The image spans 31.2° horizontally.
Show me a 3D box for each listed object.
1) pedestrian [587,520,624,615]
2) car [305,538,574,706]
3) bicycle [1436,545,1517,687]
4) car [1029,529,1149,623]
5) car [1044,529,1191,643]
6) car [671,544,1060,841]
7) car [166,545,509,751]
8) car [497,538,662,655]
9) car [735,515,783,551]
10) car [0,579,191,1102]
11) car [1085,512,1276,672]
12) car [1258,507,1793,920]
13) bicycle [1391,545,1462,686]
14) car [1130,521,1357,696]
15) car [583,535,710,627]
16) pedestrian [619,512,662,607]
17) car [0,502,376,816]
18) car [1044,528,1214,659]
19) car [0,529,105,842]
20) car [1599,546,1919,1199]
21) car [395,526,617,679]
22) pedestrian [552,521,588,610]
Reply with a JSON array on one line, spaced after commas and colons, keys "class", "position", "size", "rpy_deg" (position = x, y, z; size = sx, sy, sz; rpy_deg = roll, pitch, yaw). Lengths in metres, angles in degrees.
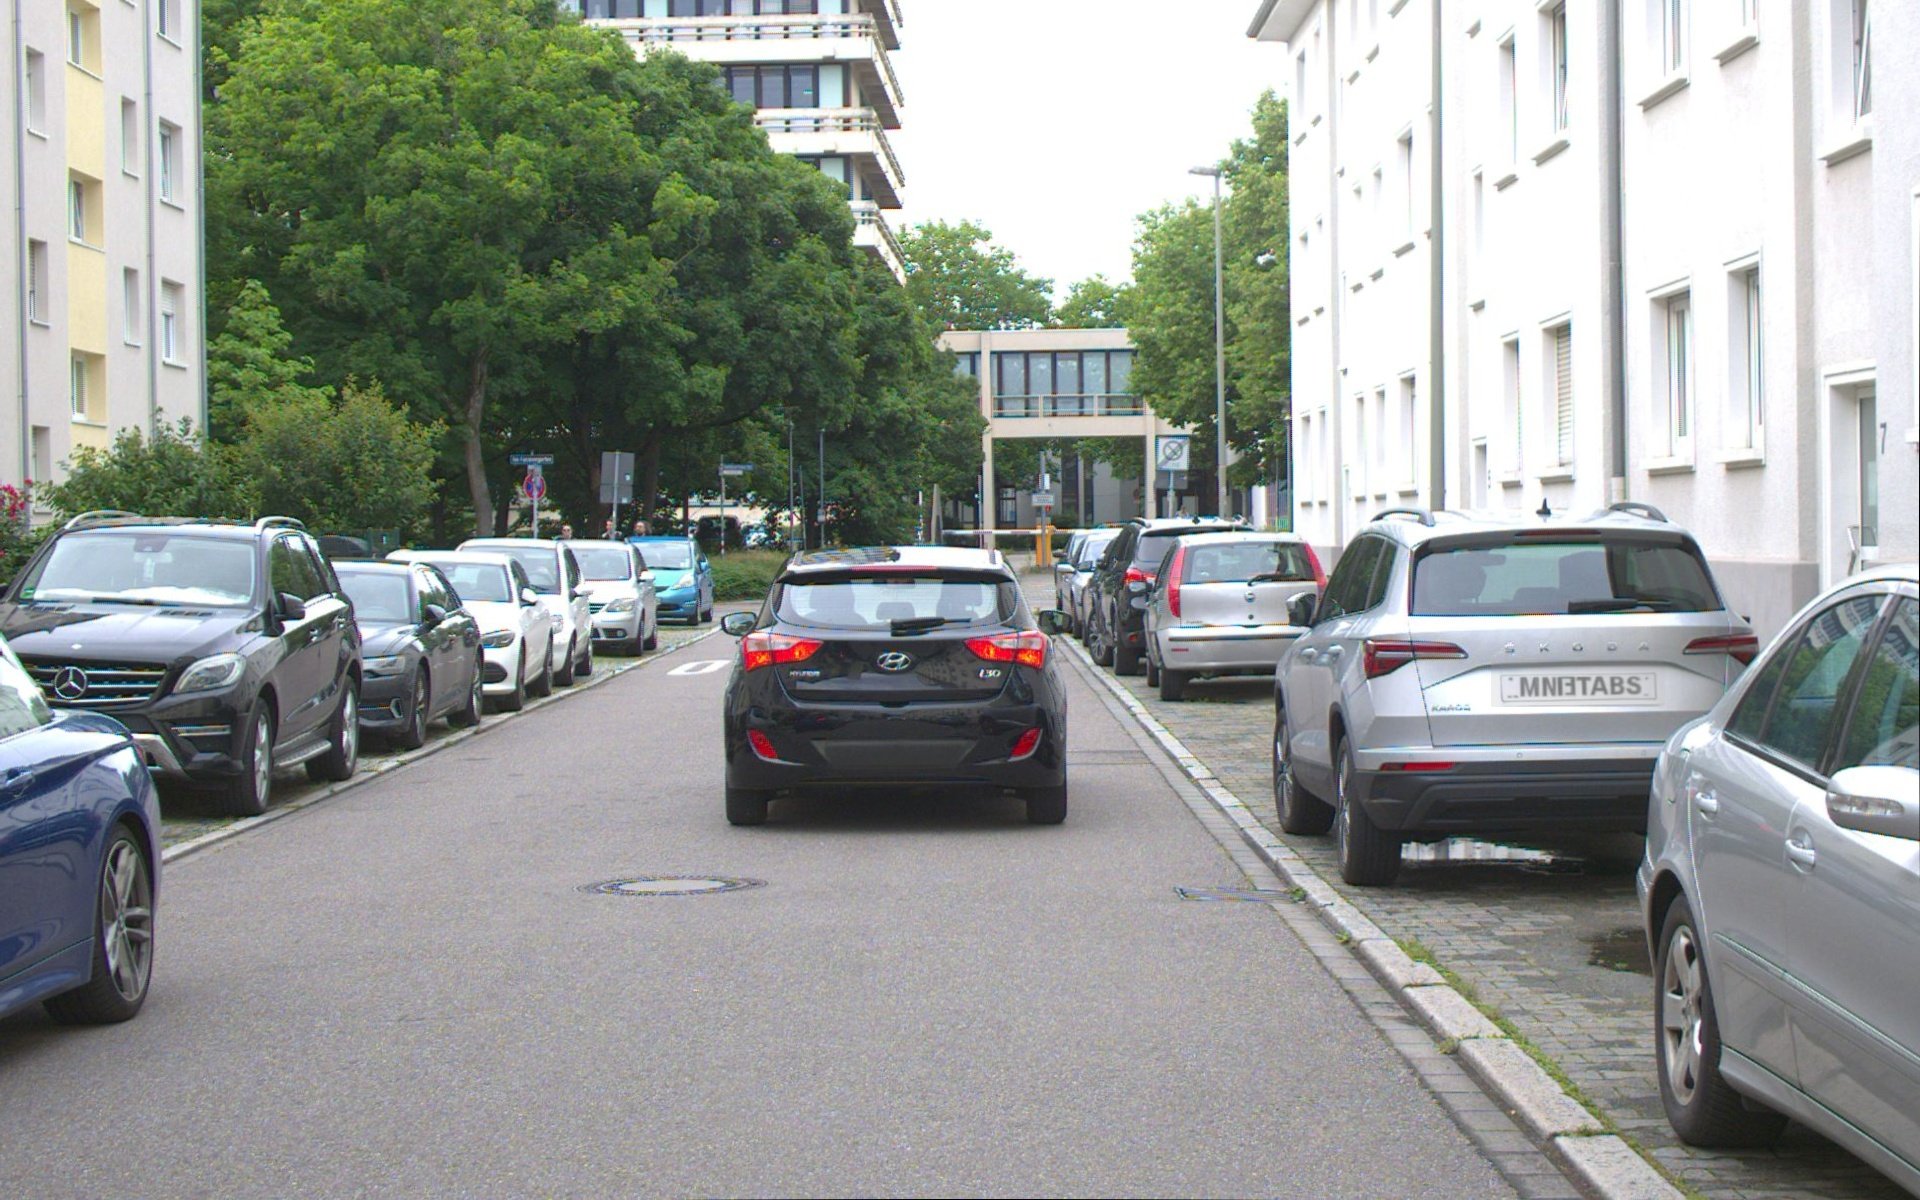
[{"class": "pedestrian", "position": [-6.848, -0.636, 66.459], "size": [0.605, 1.825, 0.675], "rpy_deg": [0, 1, 2]}, {"class": "car", "position": [-4.975, 0.158, 33.429], "size": [1.895, 1.447, 4.521], "rpy_deg": [2, 1, 0]}, {"class": "bicycle", "position": [4.524, 0.117, 30.167], "size": [0.576, 1.171, 2.036], "rpy_deg": [-2, 1, 6]}, {"class": "car", "position": [2.177, -0.422, 59.138], "size": [1.820, 1.514, 4.674], "rpy_deg": [-1, 1, 0]}, {"class": "car", "position": [2.188, -0.236, 48.750], "size": [1.820, 1.514, 4.674], "rpy_deg": [-1, 1, 0]}, {"class": "car", "position": [-0.443, 0.425, 19.101], "size": [1.903, 1.428, 4.233], "rpy_deg": [-1, 1, 1]}, {"class": "car", "position": [-4.932, 0.320, 27.863], "size": [1.895, 1.447, 4.666], "rpy_deg": [2, 1, 0]}, {"class": "car", "position": [-5.224, -0.078, 47.662], "size": [1.993, 1.535, 4.001], "rpy_deg": [0, 1, -2]}, {"class": "car", "position": [-7.684, -2.579, 131.634], "size": [1.665, 1.328, 3.396], "rpy_deg": [0, 2, 0]}, {"class": "car", "position": [-3.643, 0.697, 9.717], "size": [1.845, 1.446, 4.501], "rpy_deg": [0, 1, 1]}, {"class": "car", "position": [2.294, -0.127, 36.676], "size": [1.820, 1.597, 4.091], "rpy_deg": [-1, 1, 1]}, {"class": "car", "position": [2.428, 0.407, 15.738], "size": [1.820, 1.636, 4.091], "rpy_deg": [0, 1, 1]}, {"class": "bicycle", "position": [4.090, 0.114, 30.206], "size": [0.530, 1.171, 2.036], "rpy_deg": [-2, 1, 6]}, {"class": "car", "position": [2.572, 0.029, 32.013], "size": [1.820, 1.498, 4.091], "rpy_deg": [-1, 1, 1]}, {"class": "car", "position": [-5.424, -0.358, 59.980], "size": [1.993, 1.535, 4.001], "rpy_deg": [0, 1, -2]}, {"class": "pedestrian", "position": [-6.146, -0.784, 66.148], "size": [0.714, 1.825, 0.797], "rpy_deg": [0, 1, 2]}, {"class": "car", "position": [-5.042, 0.282, 21.710], "size": [1.895, 1.734, 4.475], "rpy_deg": [2, 1, 0]}, {"class": "car", "position": [2.045, -0.125, 42.788], "size": [1.820, 1.514, 4.674], "rpy_deg": [-1, 1, -1]}, {"class": "car", "position": [-5.374, 0.413, 16.167], "size": [1.744, 1.459, 3.786], "rpy_deg": [-1, 1, 0]}, {"class": "car", "position": [2.554, 0.643, 6.880], "size": [1.725, 1.471, 4.505], "rpy_deg": [0, 1, 0]}, {"class": "car", "position": [-5.126, -0.018, 39.351], "size": [1.895, 1.593, 4.521], "rpy_deg": [2, 1, 0]}, {"class": "pedestrian", "position": [-7.504, -0.666, 66.155], "size": [0.600, 1.707, 0.648], "rpy_deg": [0, 1, 2]}]
